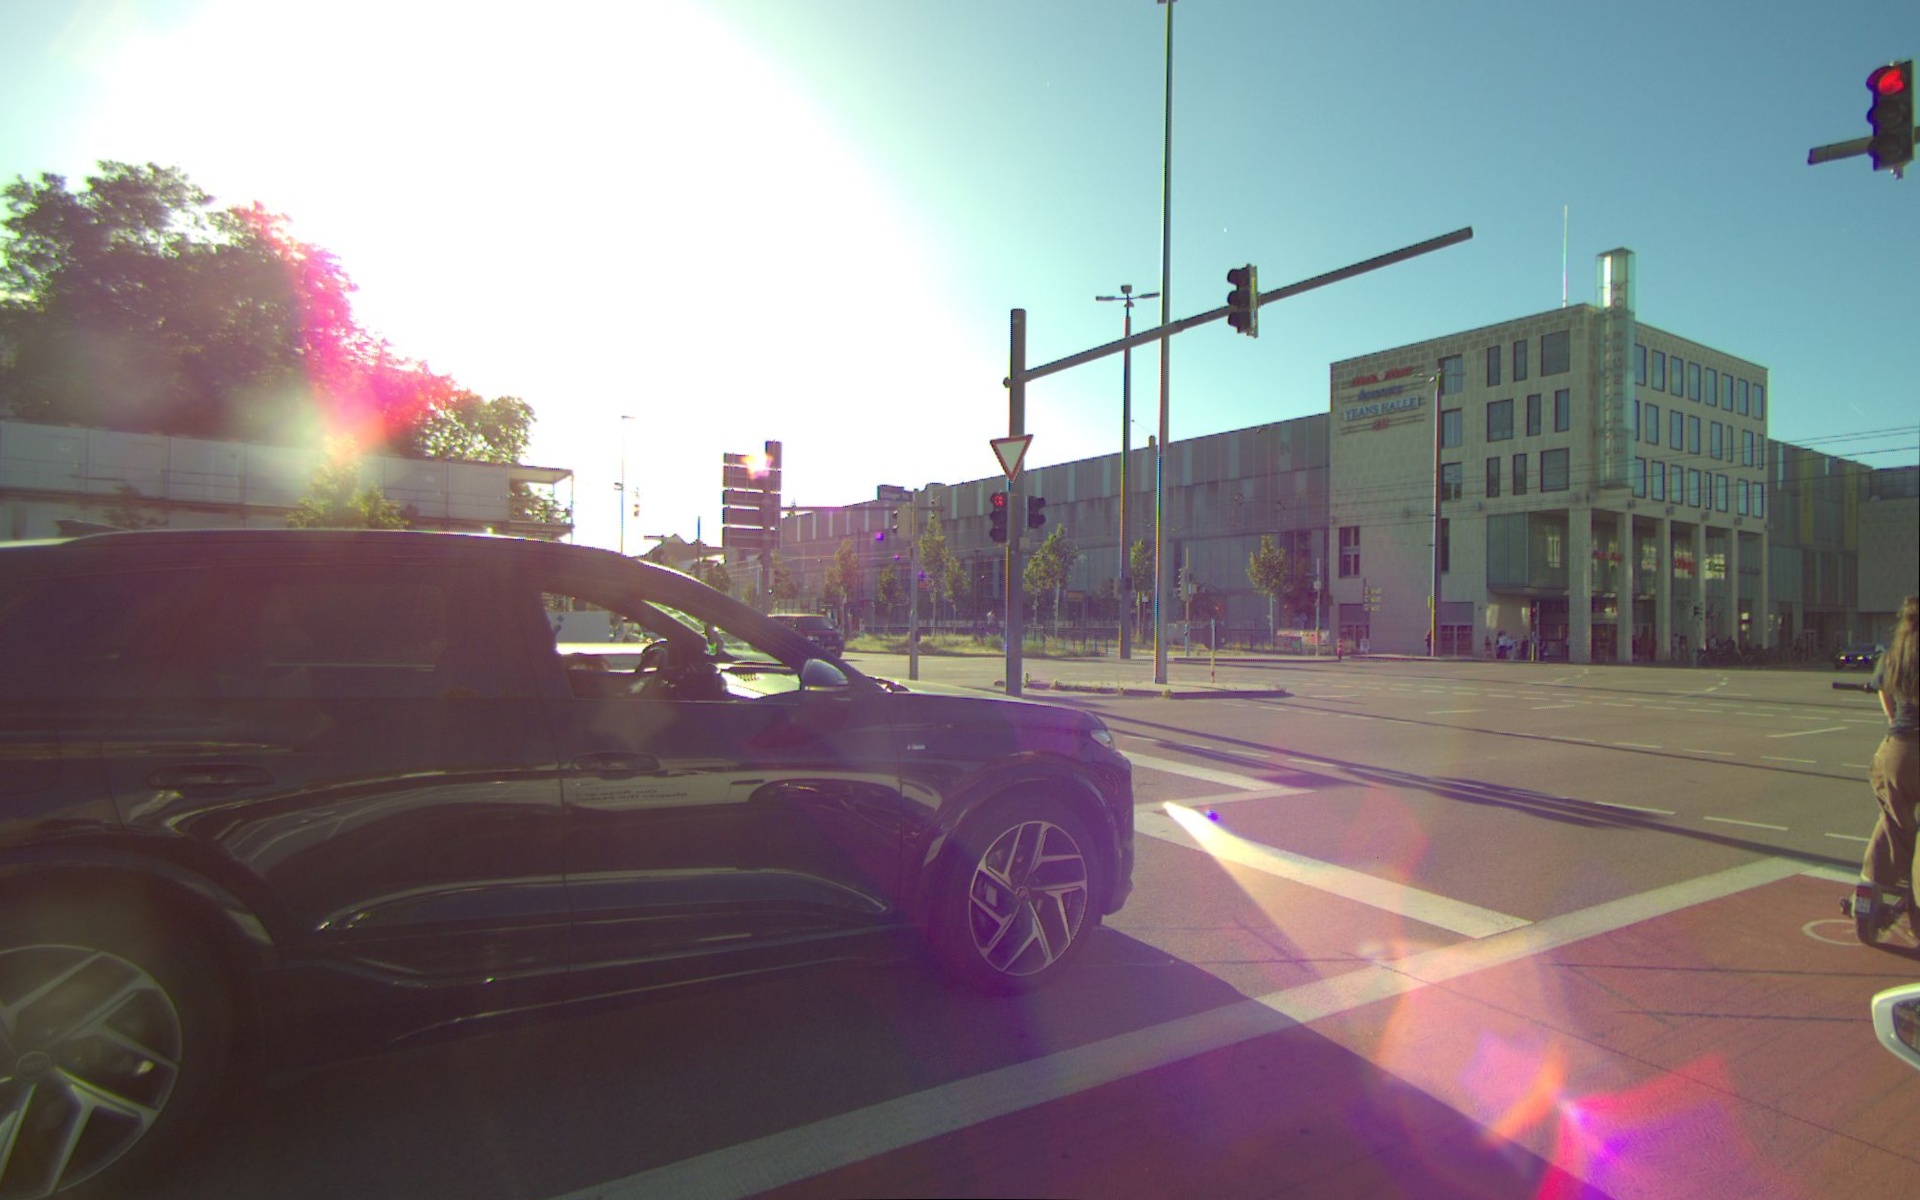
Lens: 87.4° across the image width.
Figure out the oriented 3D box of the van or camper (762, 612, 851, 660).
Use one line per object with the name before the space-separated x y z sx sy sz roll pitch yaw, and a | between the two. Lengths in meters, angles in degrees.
van or camper | -6.969 1.590 45.212 1.981 2.040 4.821 1 -2 -36

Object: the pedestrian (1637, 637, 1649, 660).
pedestrian | 44.986 3.205 66.151 0.508 1.530 0.479 1 -1 -34

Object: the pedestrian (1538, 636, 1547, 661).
pedestrian | 34.803 2.895 59.994 0.382 1.445 0.500 0 -1 44

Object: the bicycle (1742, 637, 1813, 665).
bicycle | 52.857 3.258 64.958 0.979 1.719 3.462 1 -2 -40

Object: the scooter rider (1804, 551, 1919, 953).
scooter rider | 4.619 0.689 4.754 0.801 1.798 0.725 1 -1 -30

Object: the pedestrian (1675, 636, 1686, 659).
pedestrian | 51.425 3.411 71.692 0.592 1.606 0.479 1 -1 -34

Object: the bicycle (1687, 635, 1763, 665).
bicycle | 45.697 2.976 60.028 1.107 1.719 3.465 1 -2 -38

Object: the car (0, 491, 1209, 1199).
car | -1.390 0.630 3.798 4.566 1.666 1.922 1 -1 -32

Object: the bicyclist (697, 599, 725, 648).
bicyclist | -13.847 1.308 55.783 1.007 2.677 1.610 1 -1 -34

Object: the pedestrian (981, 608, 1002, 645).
pedestrian | 1.582 1.328 50.589 0.788 1.855 0.706 1 -1 -37

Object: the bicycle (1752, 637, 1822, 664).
bicycle | 54.503 3.320 66.248 0.979 1.719 3.462 1 -2 -40

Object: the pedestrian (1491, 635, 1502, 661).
pedestrian | 32.748 2.924 61.320 0.452 1.586 0.420 1 -1 -30

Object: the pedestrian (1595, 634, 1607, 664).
pedestrian | 36.435 2.771 57.094 0.533 1.664 0.549 0 -1 34

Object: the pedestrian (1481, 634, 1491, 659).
pedestrian | 32.233 2.864 61.561 0.454 1.521 0.418 1 -1 -41

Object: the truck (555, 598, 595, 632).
truck | -33.481 1.335 87.246 1.979 2.875 6.293 1 -2 -33

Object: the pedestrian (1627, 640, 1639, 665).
pedestrian | 44.181 3.431 65.955 0.508 1.606 0.479 1 -1 -34

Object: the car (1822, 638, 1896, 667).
car | 49.707 2.897 55.525 3.953 1.505 1.984 1 -1 -30

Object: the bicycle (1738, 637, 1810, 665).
bicycle | 51.943 3.226 64.153 0.979 1.719 3.462 1 -2 -40

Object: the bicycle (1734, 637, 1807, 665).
bicycle | 51.117 3.189 63.419 0.979 1.719 3.462 1 -2 -40

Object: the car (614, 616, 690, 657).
car | -14.825 1.708 48.130 1.981 1.849 4.821 1 -2 -36

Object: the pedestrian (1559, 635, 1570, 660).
pedestrian | 40.030 3.141 66.507 0.493 1.606 0.426 1 -1 -34

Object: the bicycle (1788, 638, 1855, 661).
bicycle | 60.379 3.433 70.466 0.979 1.547 3.462 2 -2 -40

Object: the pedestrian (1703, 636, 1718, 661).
pedestrian | 51.348 3.335 68.705 0.773 1.664 0.693 0 -1 32

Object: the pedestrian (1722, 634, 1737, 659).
pedestrian | 52.215 3.170 68.166 0.689 1.664 0.648 1 -1 -38

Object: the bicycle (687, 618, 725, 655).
bicycle | -14.483 2.075 57.267 1.007 2.040 3.472 1 -2 -33

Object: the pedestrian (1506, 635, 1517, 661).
pedestrian | 33.623 2.930 61.248 0.453 1.547 0.418 1 -1 -37

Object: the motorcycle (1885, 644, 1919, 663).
motorcycle | 70.744 4.016 75.079 0.713 1.335 2.260 1 -2 -34

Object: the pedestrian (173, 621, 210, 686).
pedestrian | -20.254 1.400 26.493 0.619 1.674 0.935 1 -1 -30

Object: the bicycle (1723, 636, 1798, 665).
bicycle | 49.142 3.079 61.734 1.107 1.719 3.465 1 -2 -38

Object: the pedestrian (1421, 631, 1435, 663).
pedestrian | 24.918 2.506 53.478 0.543 1.716 0.521 1 -1 -40

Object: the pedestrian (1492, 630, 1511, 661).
pedestrian | 32.365 2.689 60.052 0.729 1.822 0.752 1 -1 -34

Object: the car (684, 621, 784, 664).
car | -9.400 1.708 41.508 2.313 1.671 4.821 1 -2 -37

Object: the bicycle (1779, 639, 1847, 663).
bicycle | 58.872 3.478 69.384 0.979 1.547 3.462 2 -2 -40

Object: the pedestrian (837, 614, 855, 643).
pedestrian | -7.234 1.806 63.805 0.889 1.855 0.787 1 -1 -35

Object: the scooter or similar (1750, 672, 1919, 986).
scooter or similar | 4.508 0.980 4.699 1.645 1.218 0.725 1 -1 -30

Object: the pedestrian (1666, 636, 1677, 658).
pedestrian | 49.513 3.241 69.879 0.508 1.530 0.479 1 -1 -34

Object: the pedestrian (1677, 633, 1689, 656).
pedestrian | 52.290 3.228 72.643 0.592 1.606 0.479 1 -1 -34

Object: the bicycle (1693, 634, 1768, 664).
bicycle | 46.579 2.956 60.796 1.107 1.719 3.465 1 -2 -38

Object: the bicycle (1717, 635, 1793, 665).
bicycle | 48.213 3.012 60.934 1.107 1.719 3.465 1 -2 -38

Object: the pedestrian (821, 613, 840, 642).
pedestrian | -8.430 1.794 65.268 0.889 1.855 0.788 3 -2 -33

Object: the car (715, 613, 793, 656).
car | -10.393 1.699 50.414 1.981 2.040 4.821 1 -2 -36
